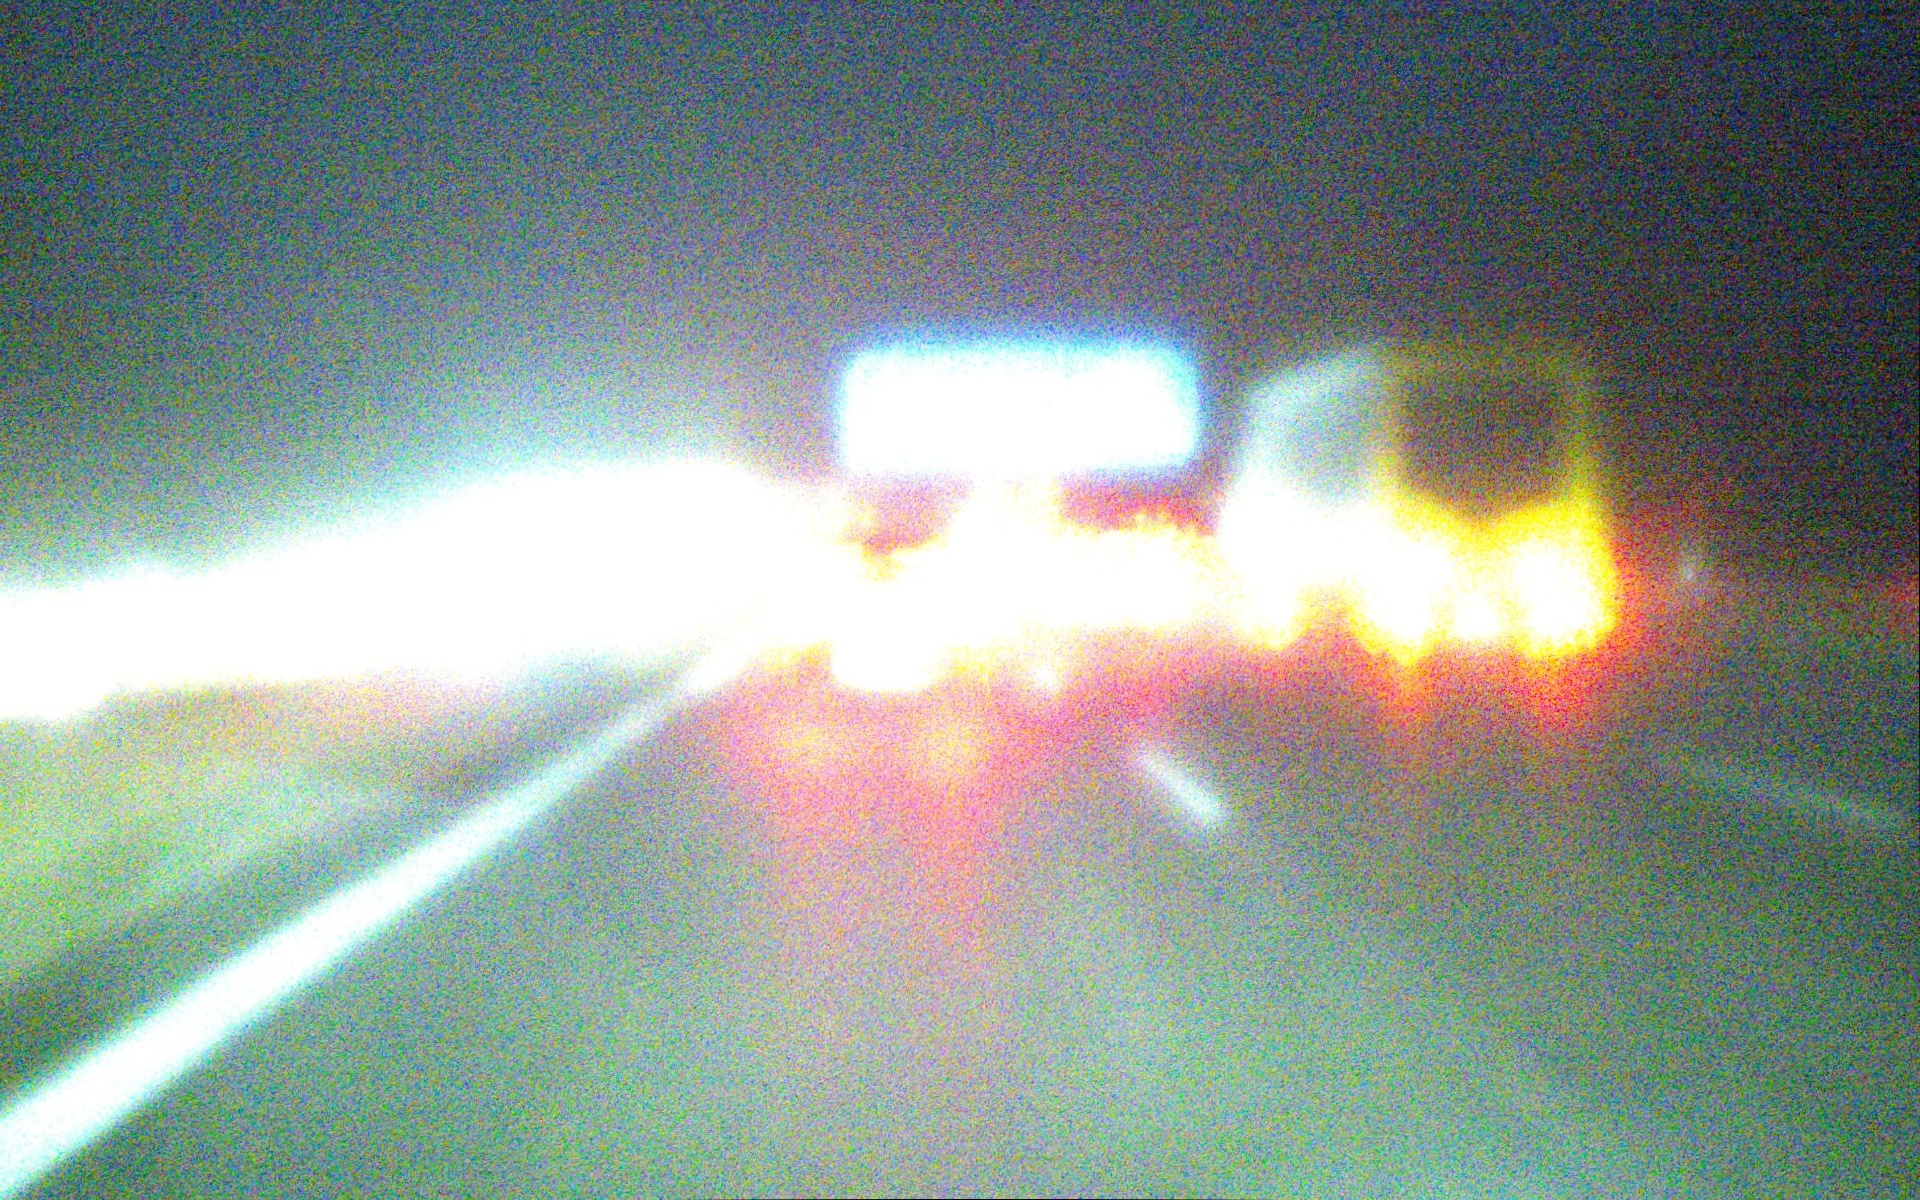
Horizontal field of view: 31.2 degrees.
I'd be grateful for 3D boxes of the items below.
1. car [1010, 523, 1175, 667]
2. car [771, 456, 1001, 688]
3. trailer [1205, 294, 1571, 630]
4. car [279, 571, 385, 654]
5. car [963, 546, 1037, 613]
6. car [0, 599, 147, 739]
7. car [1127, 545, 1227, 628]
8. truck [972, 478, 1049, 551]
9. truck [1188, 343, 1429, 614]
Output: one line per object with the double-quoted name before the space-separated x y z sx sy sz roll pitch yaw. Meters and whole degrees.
"car" 1.937 -0.101 51.401 1.993 2.007 4.001 -2 1 -4
"car" -0.678 -0.269 32.018 1.993 2.007 4.000 0 1 -1
"trailer" 5.830 -1.824 49.768 3.041 4.094 13.830 -2 1 -2
"car" -14.739 0.276 80.844 1.993 1.754 4.001 1 2 -4
"car" 1.247 -0.675 109.058 1.993 2.007 4.001 -2 1 -4
"car" -13.371 0.966 50.281 1.993 1.754 4.656 1 2 -2
"car" 5.502 -0.364 87.750 1.993 2.007 4.001 -2 1 -4
"truck" 2.367 -4.031 165.058 3.037 3.286 11.382 -2 1 -2
"truck" 5.592 -1.931 56.122 3.041 4.094 5.799 -2 1 -2
